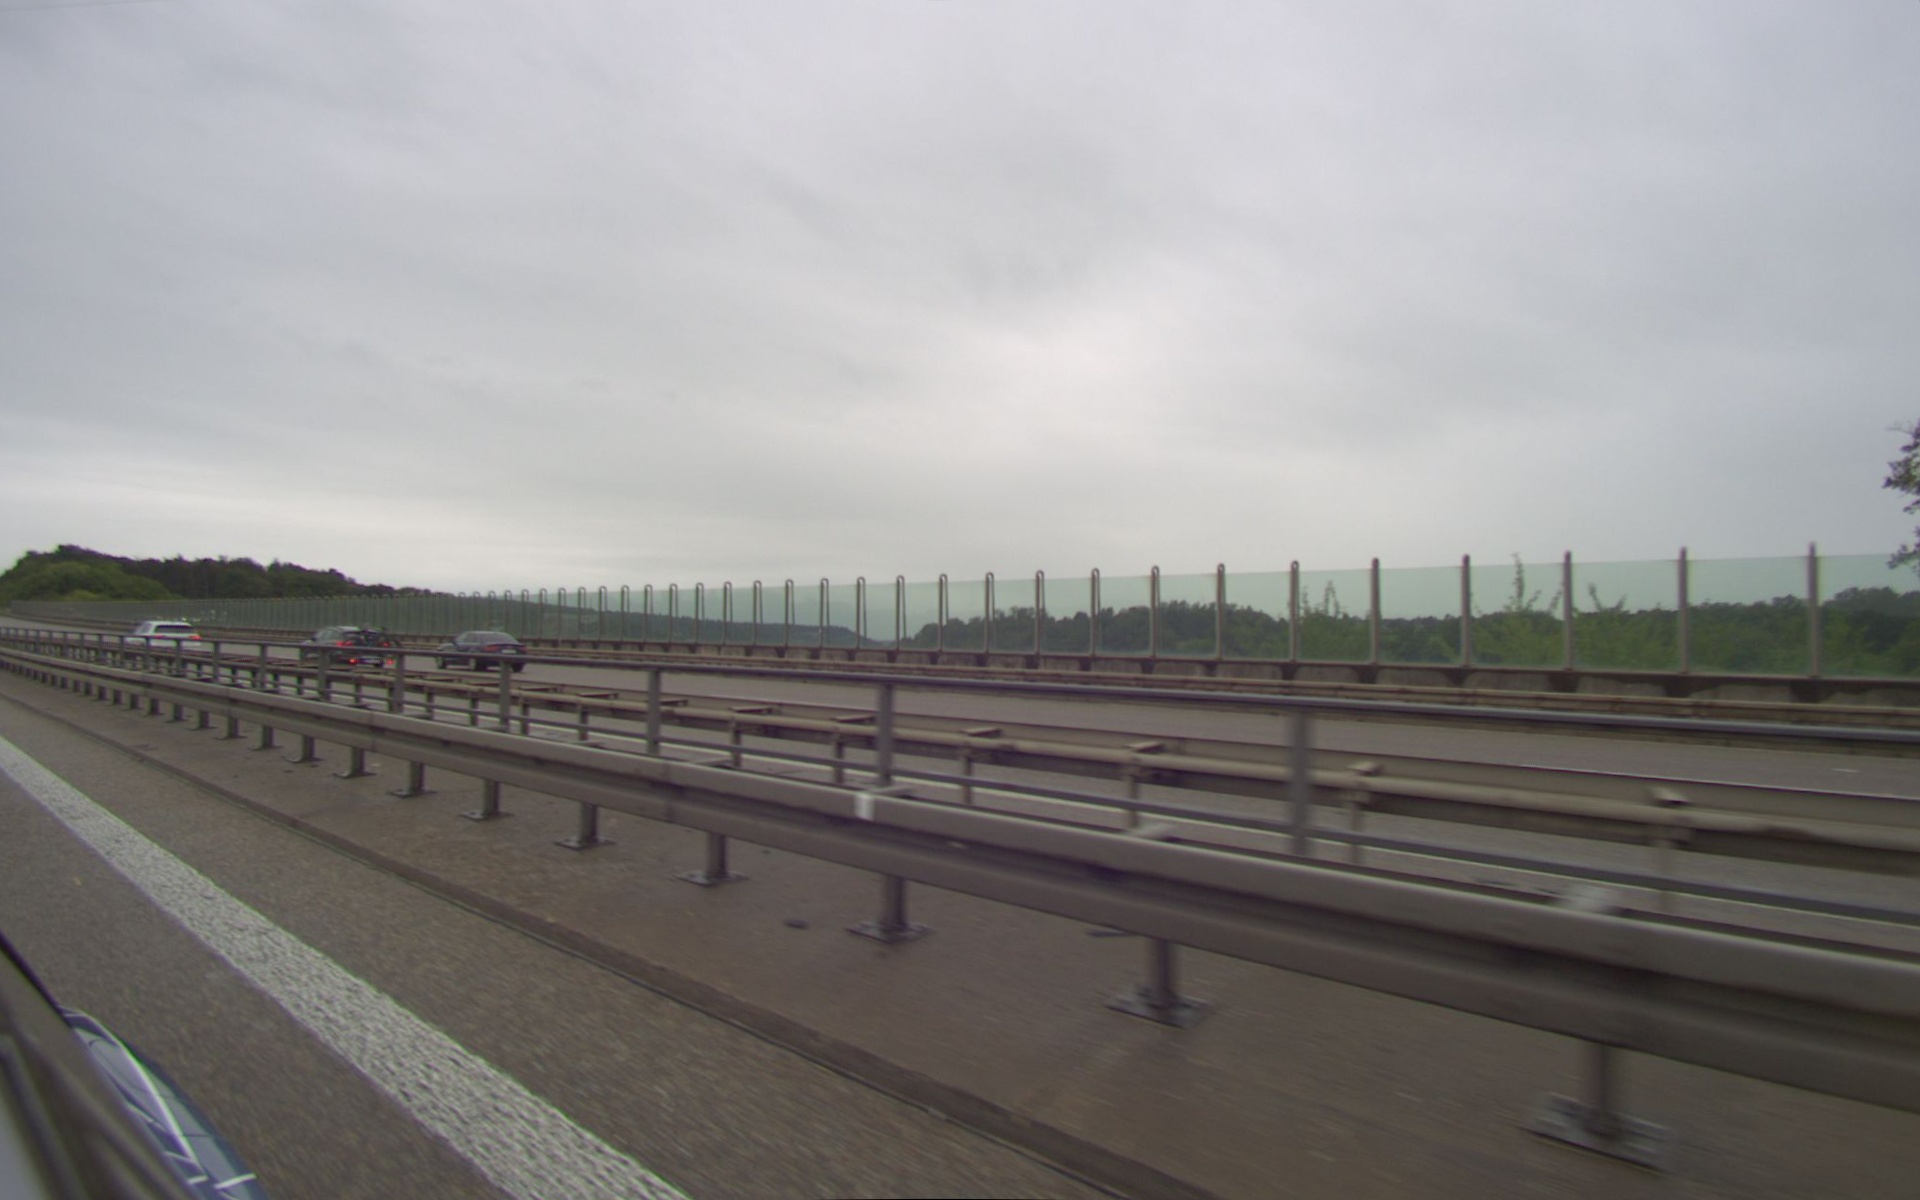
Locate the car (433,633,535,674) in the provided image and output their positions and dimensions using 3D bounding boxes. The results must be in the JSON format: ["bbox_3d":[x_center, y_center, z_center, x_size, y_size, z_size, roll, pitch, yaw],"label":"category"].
[{"bbox_3d":[-17.239,1.914,36.581,4.087,1.399,1.797,-1,-4,41],"label":"car"}]

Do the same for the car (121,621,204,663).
[{"bbox_3d":[-29.753,1.551,37.724,4.087,1.448,1.639,-1,-4,41],"label":"car"}]

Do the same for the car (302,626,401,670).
[{"bbox_3d":[-21.518,1.690,35.743,4.087,1.448,1.797,-1,-4,41],"label":"car"}]
